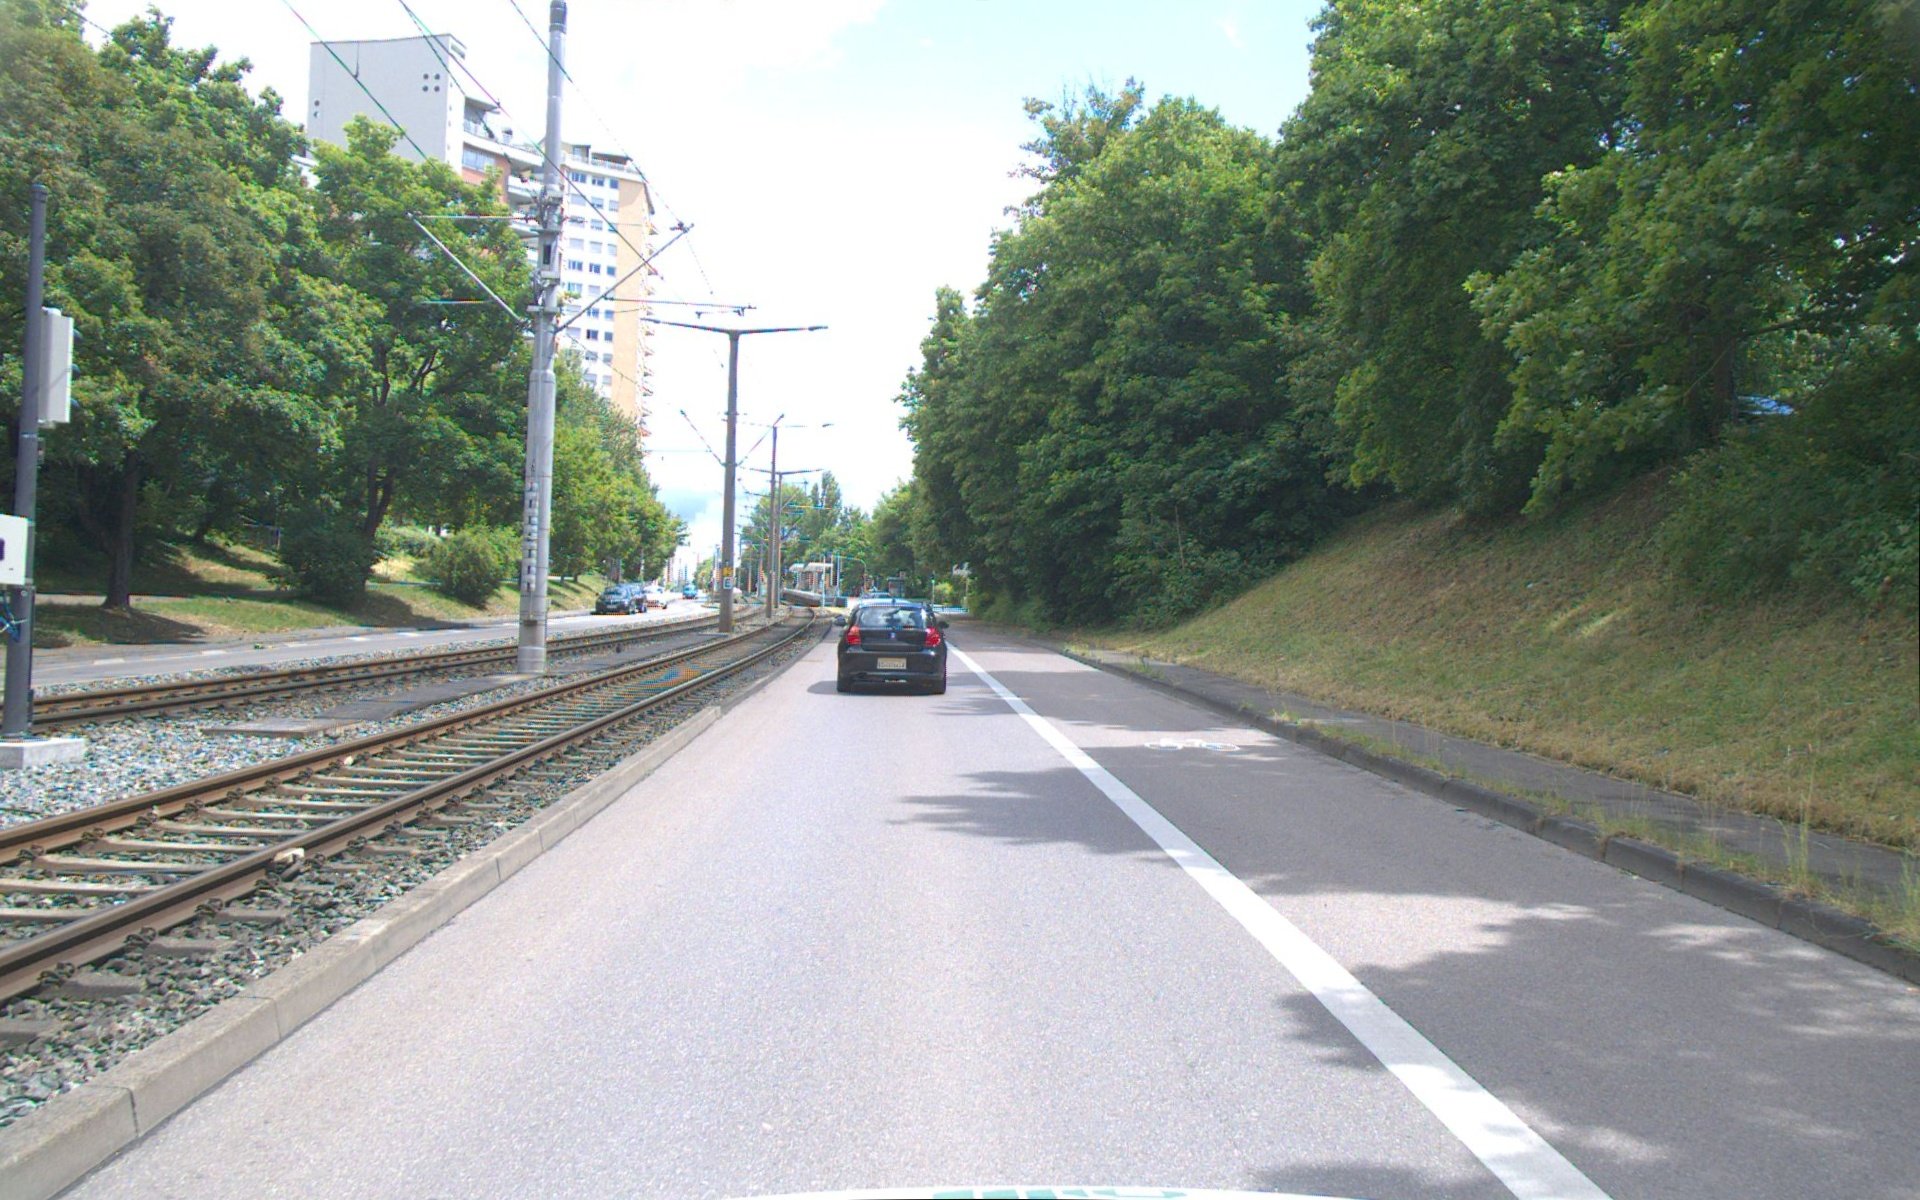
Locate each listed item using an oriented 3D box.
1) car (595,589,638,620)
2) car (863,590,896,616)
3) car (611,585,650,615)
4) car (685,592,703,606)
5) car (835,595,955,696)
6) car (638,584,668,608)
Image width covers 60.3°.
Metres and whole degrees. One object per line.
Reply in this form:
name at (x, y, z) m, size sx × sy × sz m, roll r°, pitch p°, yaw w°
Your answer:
car at (-17.933, 0.222, 86.434) m, size 1.740 × 1.525 × 3.992 m, roll 1°, pitch 0°, yaw -6°
car at (-4.923, 0.188, 100.713) m, size 1.747 × 1.485 × 3.915 m, roll 1°, pitch 0°, yaw -7°
car at (-18.512, 0.013, 93.079) m, size 1.740 × 1.658 × 4.377 m, roll 0°, pitch -1°, yaw -5°
car at (-29.995, -0.141, 186.553) m, size 1.686 × 1.467 × 3.928 m, roll 1°, pitch 0°, yaw -14°
car at (-1.109, 0.670, 26.513) m, size 1.746 × 1.485 × 3.917 m, roll 0°, pitch 0°, yaw -5°
car at (-20.413, -0.255, 110.066) m, size 1.748 × 1.559 × 4.236 m, roll 0°, pitch 0°, yaw -9°
